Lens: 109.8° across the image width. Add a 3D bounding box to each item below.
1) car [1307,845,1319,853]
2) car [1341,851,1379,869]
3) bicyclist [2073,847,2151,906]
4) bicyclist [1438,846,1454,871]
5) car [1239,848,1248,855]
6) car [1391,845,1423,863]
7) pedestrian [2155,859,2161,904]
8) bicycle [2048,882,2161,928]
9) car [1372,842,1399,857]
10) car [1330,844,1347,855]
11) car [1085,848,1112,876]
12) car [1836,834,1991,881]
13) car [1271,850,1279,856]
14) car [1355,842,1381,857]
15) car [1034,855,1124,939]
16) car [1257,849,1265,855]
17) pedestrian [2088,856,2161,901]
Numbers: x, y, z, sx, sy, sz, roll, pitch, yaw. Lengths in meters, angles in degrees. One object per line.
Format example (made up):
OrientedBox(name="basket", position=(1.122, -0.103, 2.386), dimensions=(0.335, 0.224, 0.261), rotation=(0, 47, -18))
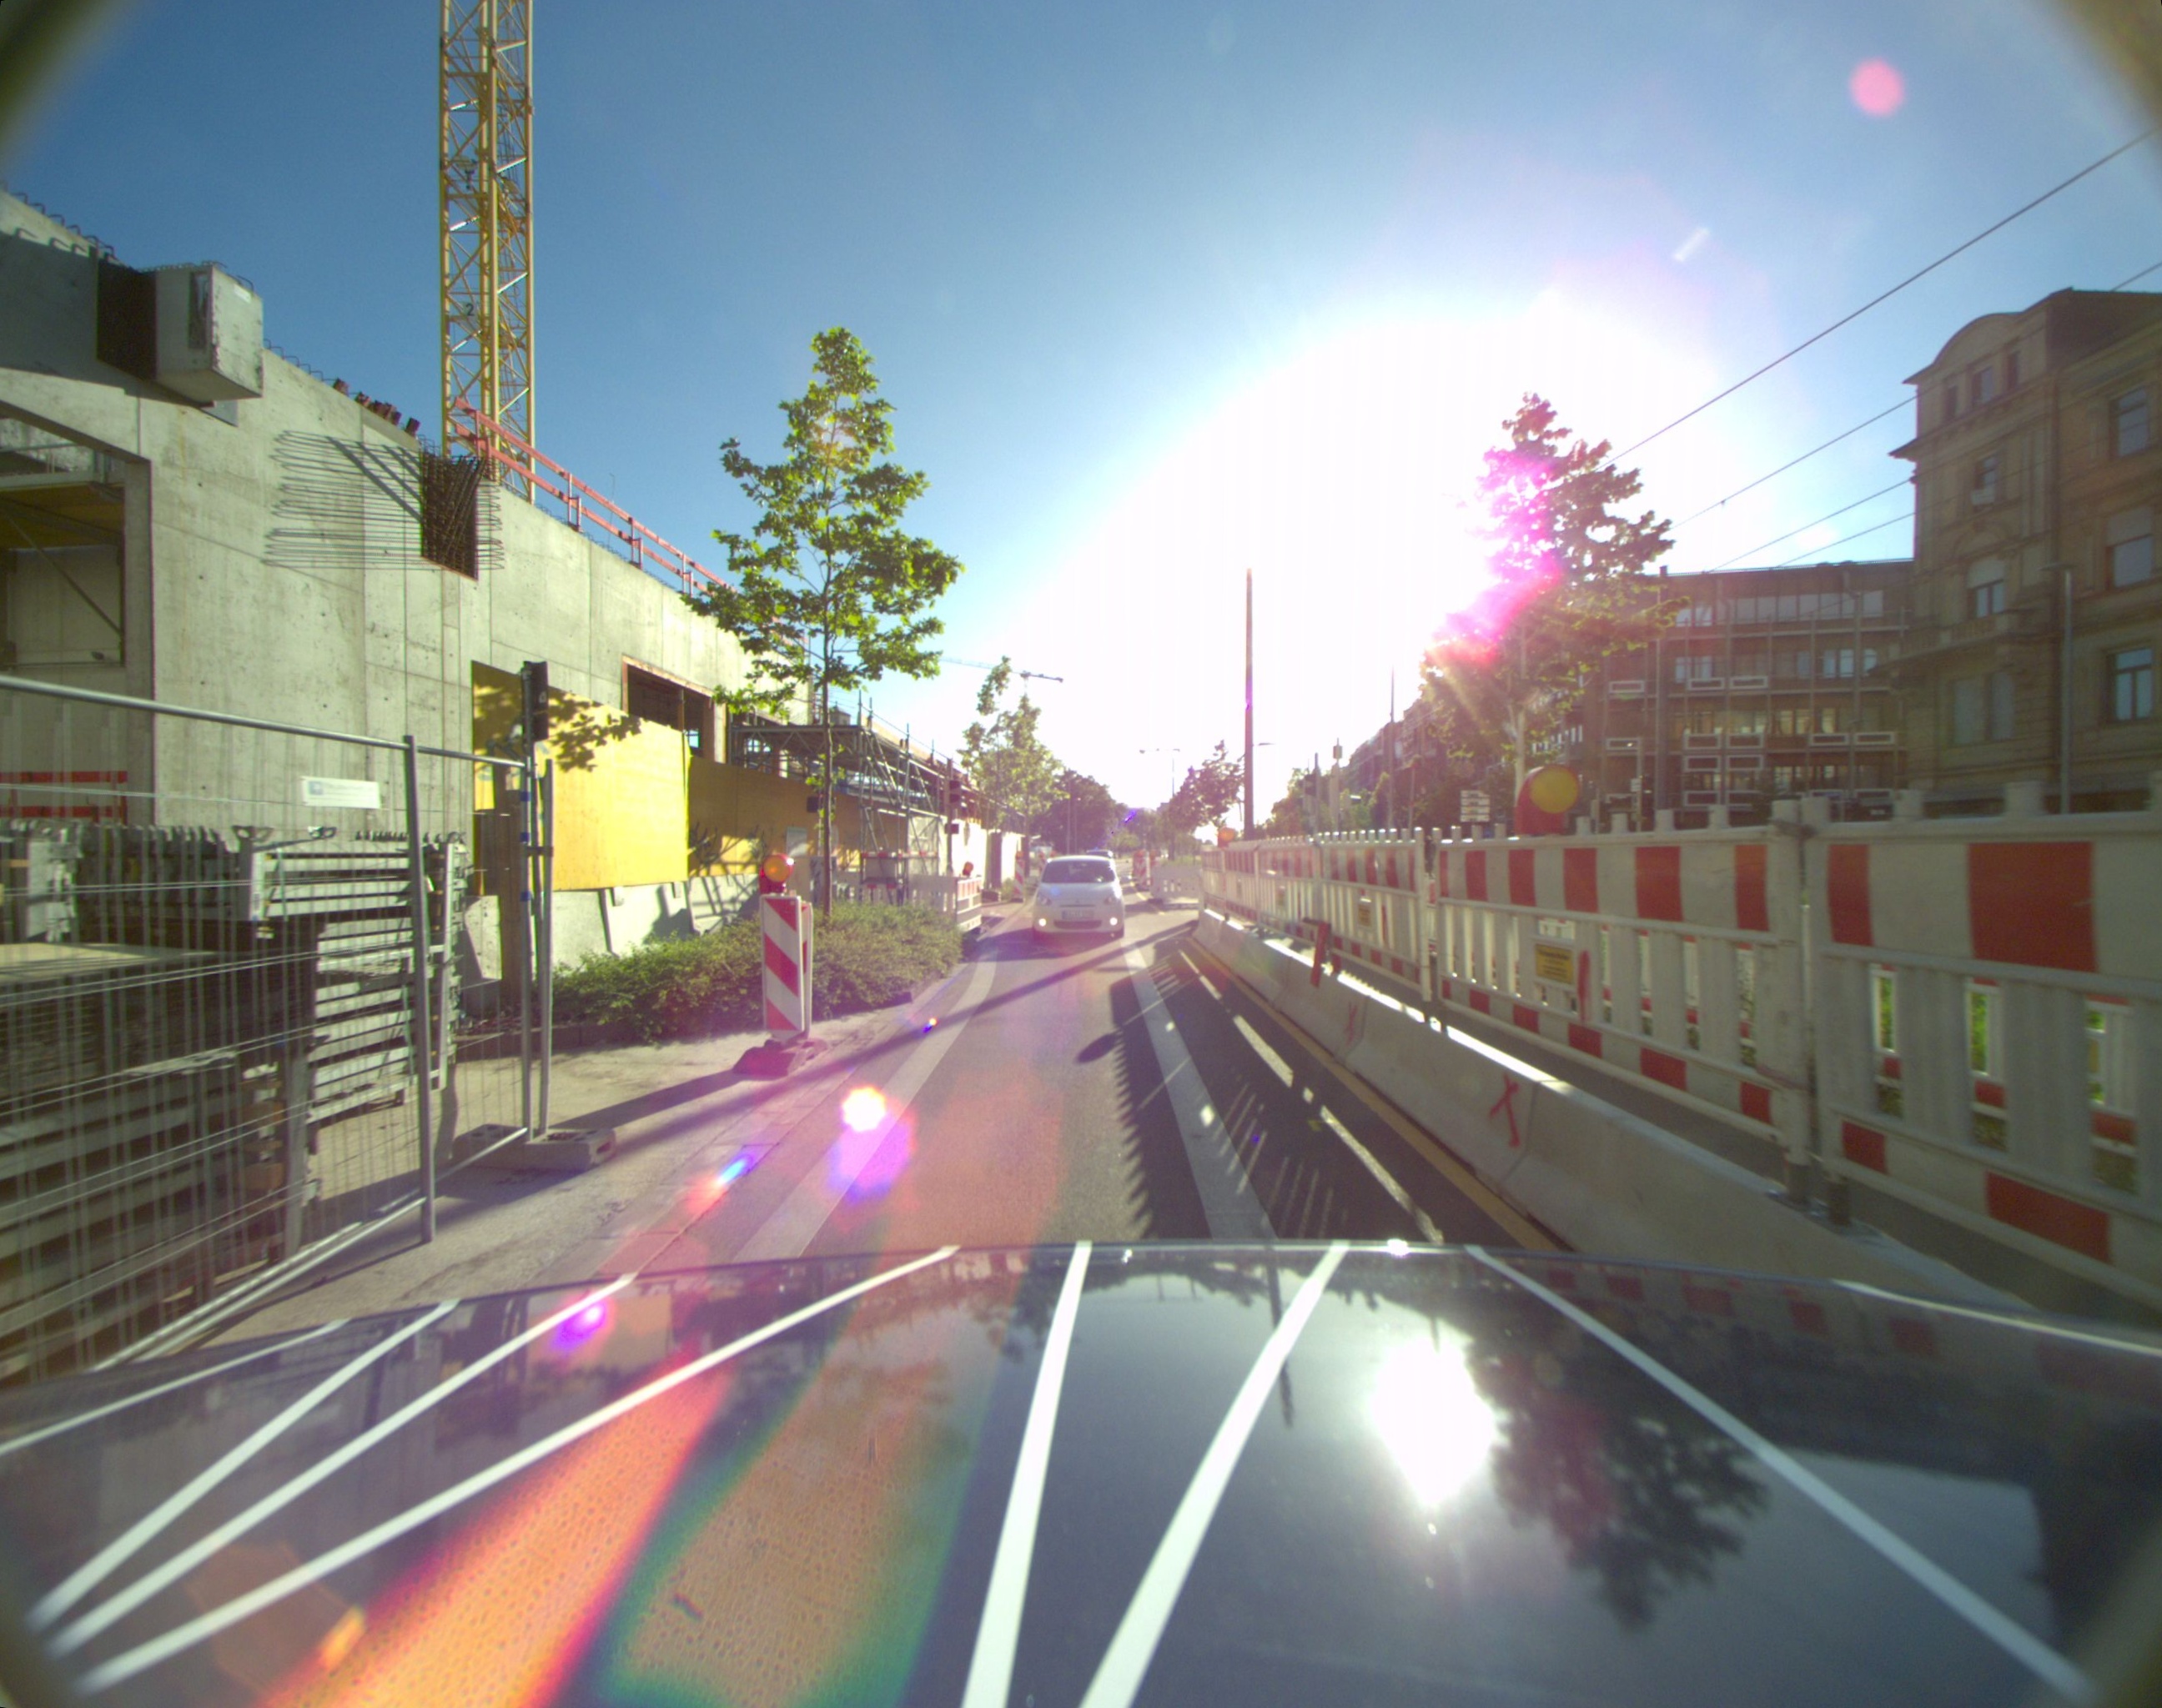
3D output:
OrientedBox(name="car", position=(45.744, -0.959, 150.164), dimensions=(1.725, 1.535, 3.633), rotation=(-2, 0, 9))
OrientedBox(name="car", position=(24.386, 0.520, 66.559), dimensions=(1.857, 1.412, 4.070), rotation=(-2, 0, 2))
OrientedBox(name="bicyclist", position=(22.045, 0.462, 16.261), dimensions=(0.638, 1.232, 0.738), rotation=(0, 1, 2))
OrientedBox(name="bicyclist", position=(24.771, 0.290, 51.622), dimensions=(0.696, 1.648, 0.882), rotation=(0, 1, 2))
OrientedBox(name="car", position=(40.268, -0.572, 188.181), dimensions=(1.731, 1.736, 4.123), rotation=(0, 0, 7))
OrientedBox(name="car", position=(28.781, -0.038, 67.223), dimensions=(1.652, 1.545, 3.969), rotation=(0, 0, 9))
OrientedBox(name="pedestrian", position=(29.445, 0.741, 20.121), dimensions=(0.692, 1.201, 0.929), rotation=(0, 1, 2))
OrientedBox(name="bicycle", position=(22.048, 1.059, 16.065), dimensions=(0.638, 0.853, 2.031), rotation=(0, 1, 2))
OrientedBox(name="car", position=(29.102, -0.426, 72.734), dimensions=(1.627, 1.433, 3.821), rotation=(-1, 0, 9))
OrientedBox(name="car", position=(34.940, -0.602, 103.123), dimensions=(1.718, 1.379, 4.043), rotation=(0, 1, 13))
OrientedBox(name="car", position=(0.964, 0.432, 43.096), dimensions=(1.458, 1.472, 3.527), rotation=(0, 0, 1))
OrientedBox(name="car", position=(34.550, 0.135, 31.609), dimensions=(4.522, 1.892, 1.897), rotation=(0, 1, -3))
OrientedBox(name="car", position=(47.635, -0.349, 186.780), dimensions=(1.630, 1.487, 4.420), rotation=(1, 1, 11))
OrientedBox(name="car", position=(29.311, -0.457, 77.777), dimensions=(1.741, 1.527, 3.887), rotation=(-1, 0, 9))
OrientedBox(name="car", position=(0.020, 0.783, 15.522), dimensions=(1.614, 1.489, 3.395), rotation=(-1, 0, 2))
OrientedBox(name="car", position=(44.410, -0.453, 187.157), dimensions=(1.630, 1.487, 3.782), rotation=(0, 1, 9))
OrientedBox(name="pedestrian", position=(29.110, 0.664, 21.199), dimensions=(0.793, 1.201, 0.929), rotation=(0, 1, 2))
